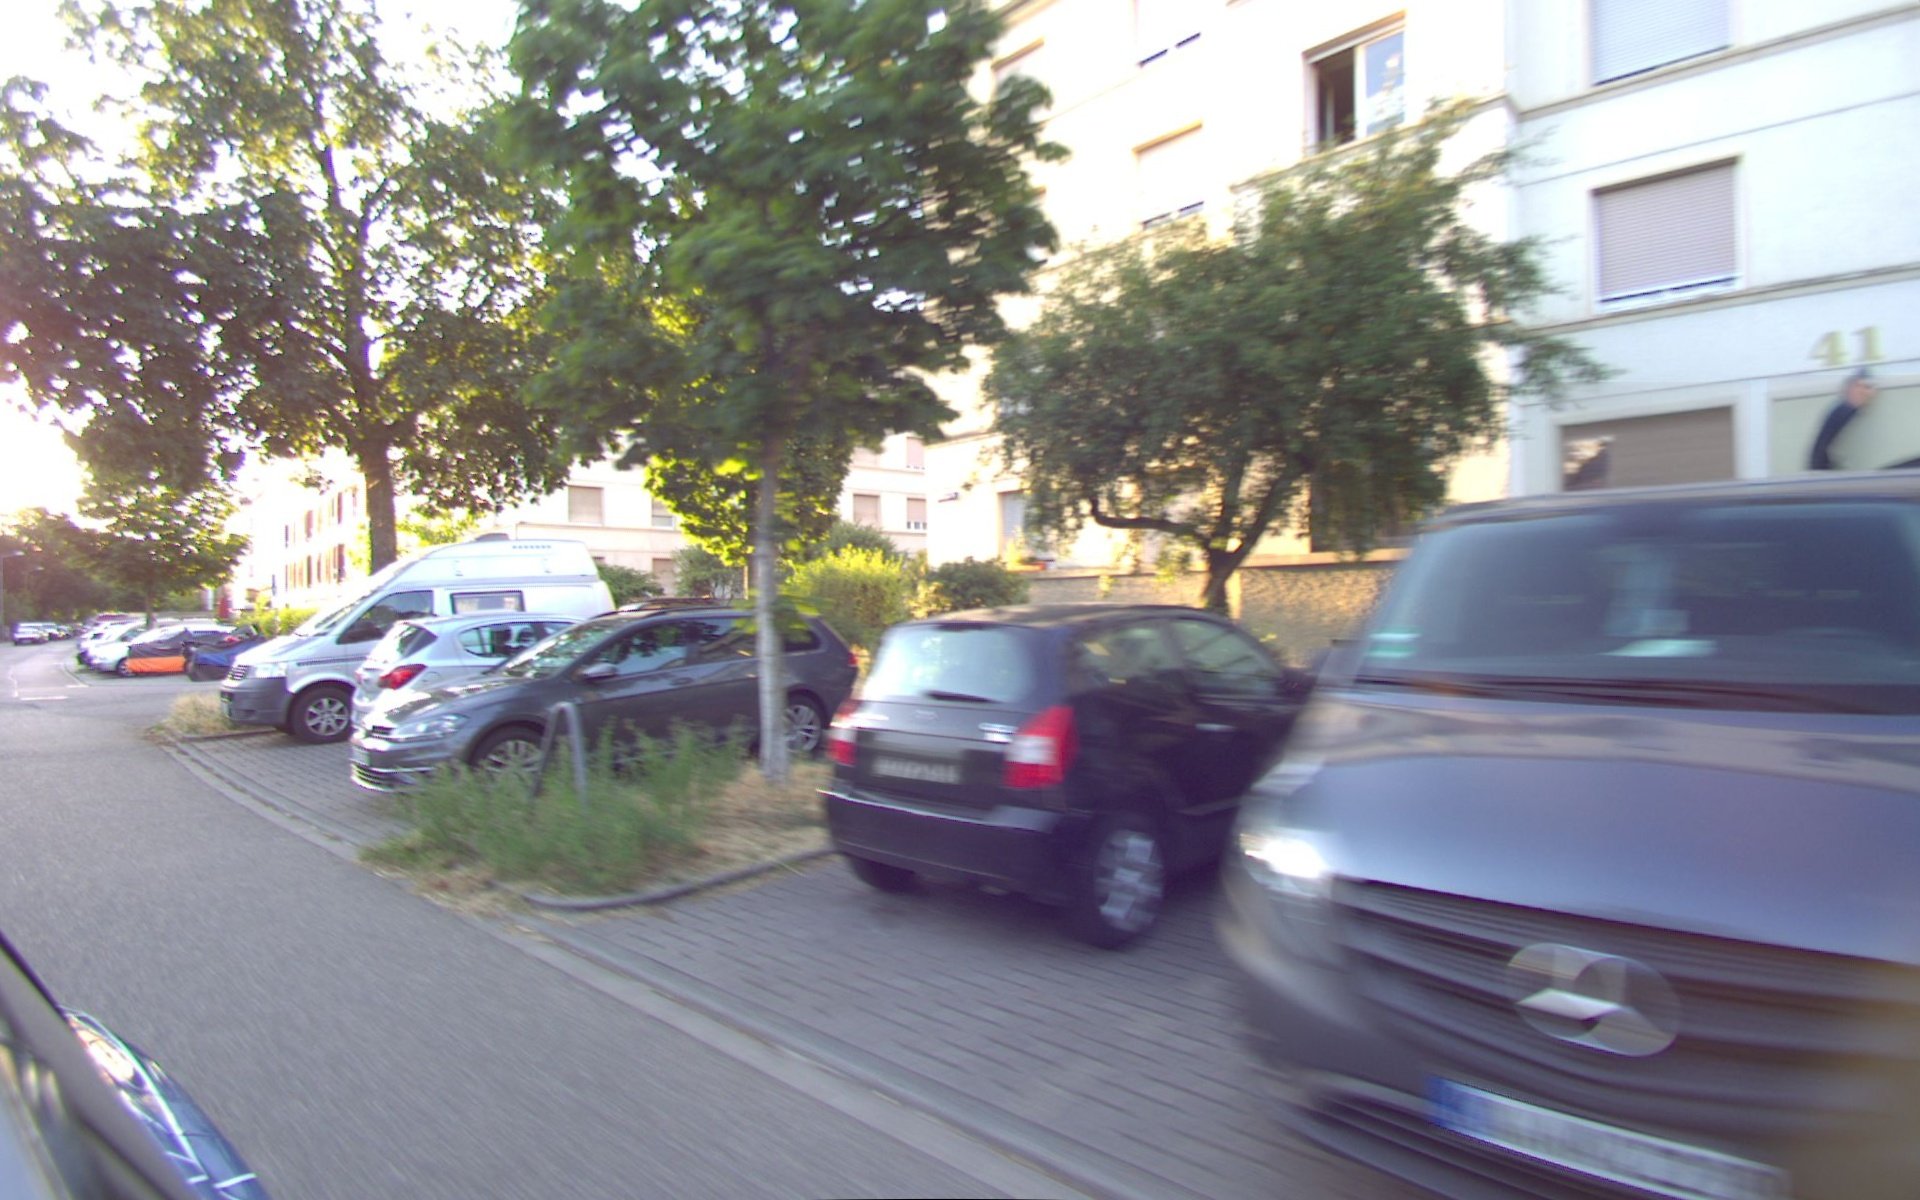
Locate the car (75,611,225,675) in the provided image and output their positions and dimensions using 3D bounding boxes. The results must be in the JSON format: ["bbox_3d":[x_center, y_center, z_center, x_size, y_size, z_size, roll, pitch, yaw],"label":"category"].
[{"bbox_3d":[-32.024,1.665,40.140,4.456,2.085,2.004,-5,0,-39],"label":"car"}]

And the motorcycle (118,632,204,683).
[{"bbox_3d":[-24.489,1.750,31.049,0.722,1.447,1.964,-2,-1,43],"label":"motorcycle"}]

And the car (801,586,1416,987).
[{"bbox_3d":[1.095,0.692,5.719,1.655,1.450,3.729,-2,0,41],"label":"car"}]

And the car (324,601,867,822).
[{"bbox_3d":[-3.009,0.778,8.991,4.195,1.404,1.685,-2,0,-44],"label":"car"}]

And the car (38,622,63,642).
[{"bbox_3d":[-97.932,3.434,108.992,1.969,2.029,4.005,-1,-1,-42],"label":"car"}]

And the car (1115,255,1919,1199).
[{"bbox_3d":[2.644,0.394,3.616,1.998,1.888,4.626,-2,-1,40],"label":"car"}]

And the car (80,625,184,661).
[{"bbox_3d":[-50.425,2.581,61.769,4.792,2.070,2.004,1,-2,-38],"label":"car"}]

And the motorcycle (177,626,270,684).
[{"bbox_3d":[-22.133,1.621,30.423,2.203,1.594,0.775,-1,-1,-40],"label":"motorcycle"}]

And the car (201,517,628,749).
[{"bbox_3d":[-7.173,0.355,13.675,2.001,2.589,4.678,-2,-1,44],"label":"car"}]

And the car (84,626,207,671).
[{"bbox_3d":[-35.282,2.066,43.894,3.941,1.495,1.757,-6,2,-43],"label":"car"}]

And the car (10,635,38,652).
[{"bbox_3d":[-81.545,3.762,88.204,1.707,1.386,3.768,-1,-1,-42],"label":"car"}]

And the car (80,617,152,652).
[{"bbox_3d":[-67.230,2.743,80.669,4.346,2.576,1.935,-1,-1,-40],"label":"car"}]

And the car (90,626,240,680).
[{"bbox_3d":[-27.038,1.763,34.485,3.938,1.595,1.731,-1,-1,-41],"label":"car"}]

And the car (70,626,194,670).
[{"bbox_3d":[-37.170,2.131,45.497,4.192,1.633,1.815,-3,0,-42],"label":"car"}]

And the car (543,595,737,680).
[{"bbox_3d":[-8.530,0.935,27.207,4.523,2.029,2.002,-1,-1,-44],"label":"car"}]

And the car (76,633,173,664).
[{"bbox_3d":[-47.563,2.724,57.664,1.739,1.426,4.092,-2,1,45],"label":"car"}]

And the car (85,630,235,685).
[{"bbox_3d":[-25.525,1.800,32.338,3.668,1.517,1.692,-1,-1,-42],"label":"car"}]

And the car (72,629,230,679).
[{"bbox_3d":[-28.957,1.900,36.315,4.273,1.416,1.854,-4,1,-41],"label":"car"}]

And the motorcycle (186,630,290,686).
[{"bbox_3d":[-20.536,1.609,28.815,2.353,1.447,0.882,-1,-1,-40],"label":"motorcycle"}]

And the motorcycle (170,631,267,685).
[{"bbox_3d":[-21.481,1.658,29.353,2.203,1.447,0.775,-1,-1,-40],"label":"motorcycle"}]

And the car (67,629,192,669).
[{"bbox_3d":[-38.886,2.268,47.468,4.357,1.462,1.829,-4,2,-44],"label":"car"}]

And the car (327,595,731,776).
[{"bbox_3d":[-4.654,0.799,11.289,1.653,1.534,3.761,-2,1,44],"label":"car"}]
